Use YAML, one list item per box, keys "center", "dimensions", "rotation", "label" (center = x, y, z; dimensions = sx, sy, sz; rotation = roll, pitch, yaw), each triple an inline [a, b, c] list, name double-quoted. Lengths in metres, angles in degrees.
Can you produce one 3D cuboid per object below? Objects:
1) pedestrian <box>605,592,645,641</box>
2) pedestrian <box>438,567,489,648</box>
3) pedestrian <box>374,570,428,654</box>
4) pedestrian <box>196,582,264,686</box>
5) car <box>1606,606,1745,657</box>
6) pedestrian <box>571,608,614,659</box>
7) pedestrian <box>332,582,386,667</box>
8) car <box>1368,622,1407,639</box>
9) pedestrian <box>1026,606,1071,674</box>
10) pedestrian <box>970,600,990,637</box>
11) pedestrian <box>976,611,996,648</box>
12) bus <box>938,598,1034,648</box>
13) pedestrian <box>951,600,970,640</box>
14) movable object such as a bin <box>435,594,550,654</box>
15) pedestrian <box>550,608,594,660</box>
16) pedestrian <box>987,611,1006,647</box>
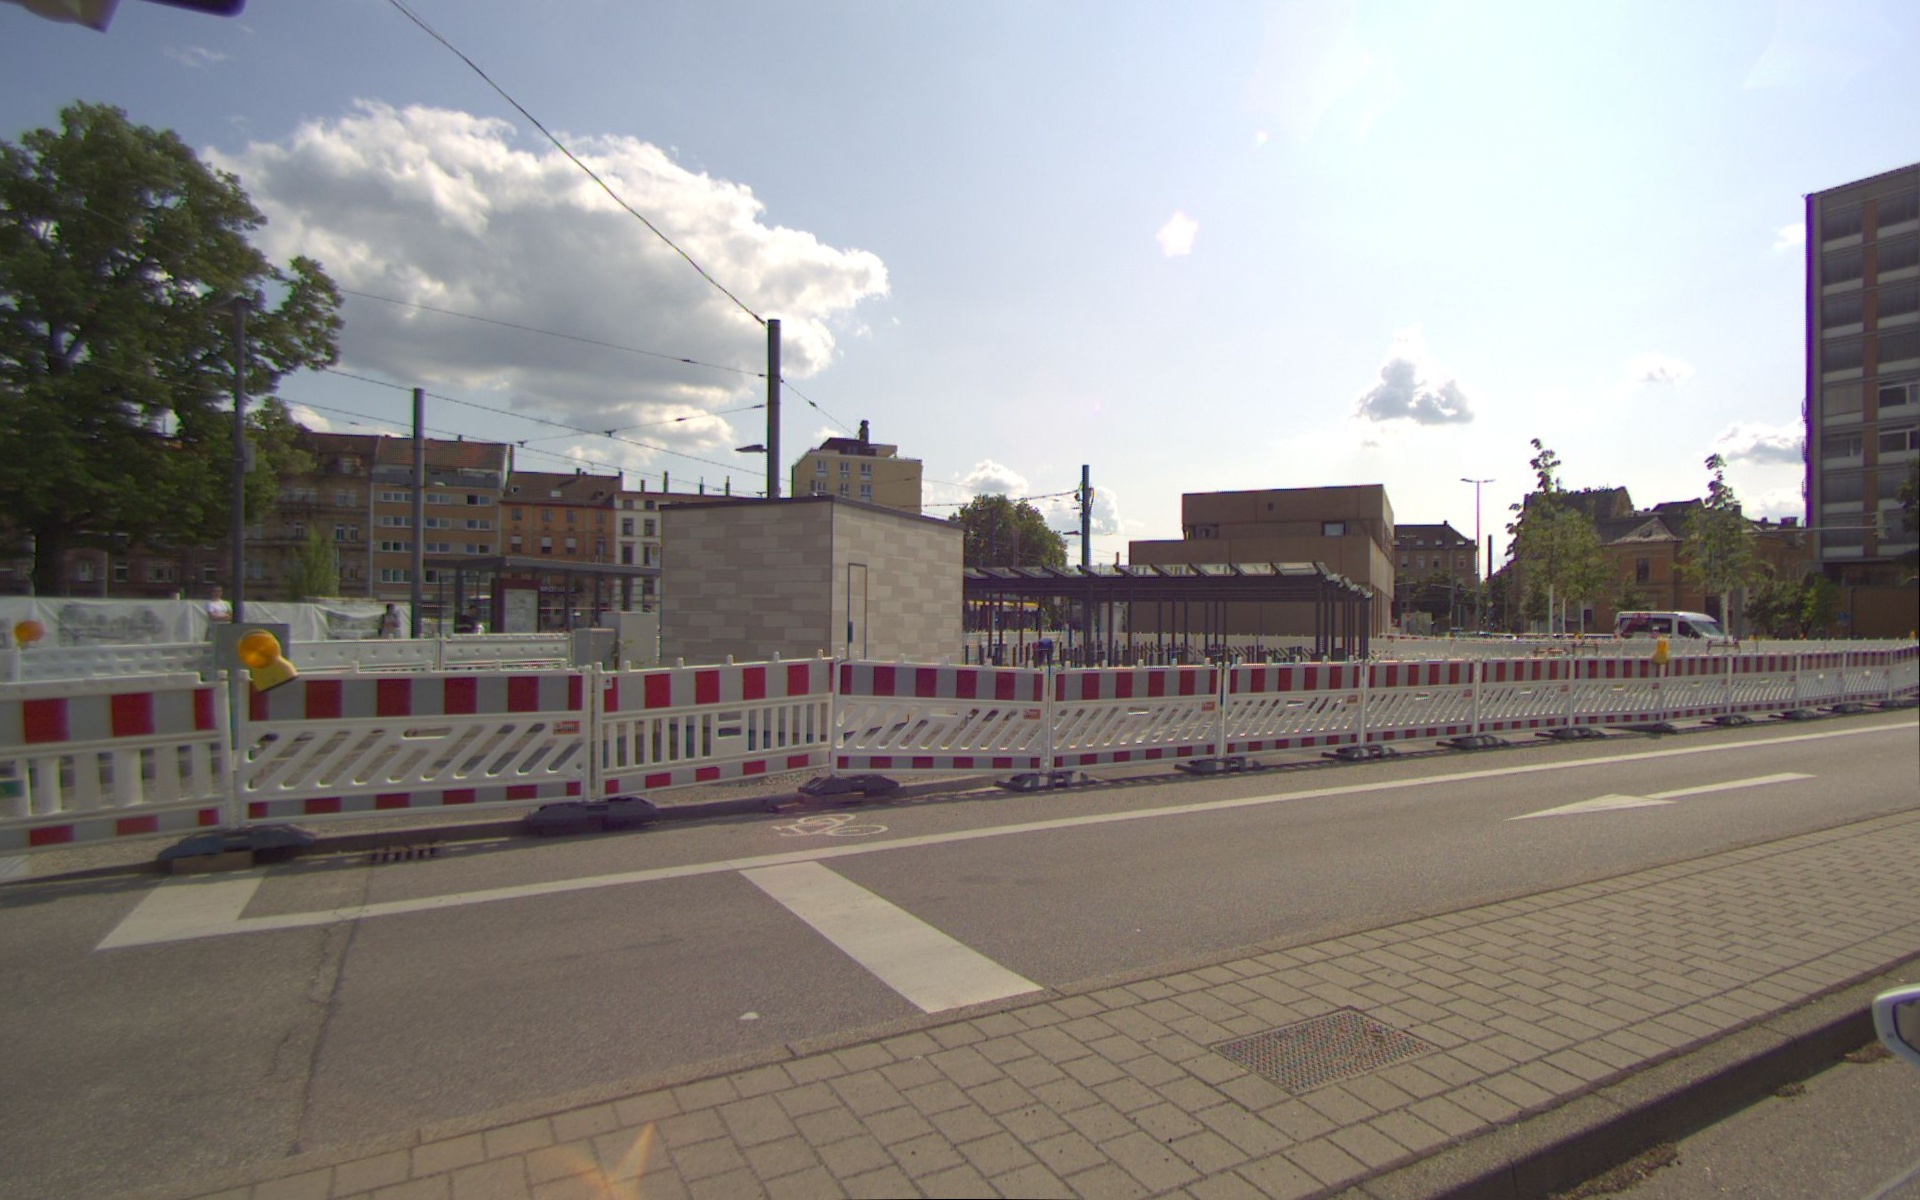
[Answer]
- center: [-10.300, 0.505, 30.890]
  dimensions: [0.926, 1.450, 0.730]
  rotation: [1, -1, 28]
  label: "pedestrian"
- center: [-12.691, 0.195, 25.682]
  dimensions: [0.926, 2.040, 0.730]
  rotation: [1, -1, 28]
  label: "pedestrian"
- center: [-13.806, 0.297, 24.821]
  dimensions: [0.926, 2.040, 0.730]
  rotation: [1, -1, 28]
  label: "pedestrian"
- center: [-14.726, 0.682, 20.284]
  dimensions: [0.802, 2.040, 0.798]
  rotation: [1, -1, 28]
  label: "pedestrian"
- center: [35.059, 1.527, 49.469]
  dimensions: [2.260, 2.349, 5.579]
  rotation: [0, -1, -10]
  label: "car"
- center: [-10.864, 0.983, 29.687]
  dimensions: [0.926, 1.450, 0.730]
  rotation: [1, -1, 28]
  label: "pedestrian"
- center: [-14.899, 0.601, 24.907]
  dimensions: [0.926, 2.040, 0.730]
  rotation: [1, -1, 28]
  label: "pedestrian"
- center: [43.267, 3.106, 101.721]
  dimensions: [2.015, 1.713, 3.731]
  rotation: [0, -1, -8]
  label: "car"
- center: [2.456, 1.087, 27.713]
  dimensions: [0.918, 1.813, 1.179]
  rotation: [1, -1, 21]
  label: "pedestrian"
- center: [1.145, 1.041, 56.780]
  dimensions: [0.925, 2.040, 0.731]
  rotation: [1, -1, 15]
  label: "pedestrian"
- center: [1.424, 1.628, 55.460]
  dimensions: [0.925, 2.040, 0.731]
  rotation: [1, -1, 15]
  label: "pedestrian"
- center: [1.902, 1.503, 65.923]
  dimensions: [2.384, 3.022, 10.536]
  rotation: [0, -1, 25]
  label: "bus"
- center: [0.030, 1.047, 52.963]
  dimensions: [0.925, 2.040, 0.731]
  rotation: [1, -1, 0]
  label: "pedestrian"
- center: [-21.228, 1.081, 45.794]
  dimensions: [2.602, 2.608, 3.995]
  rotation: [0, -1, 28]
  label: "movable object such as a bin"
- center: [-11.213, 0.979, 29.006]
  dimensions: [0.926, 1.450, 0.730]
  rotation: [1, -1, 28]
  label: "pedestrian"
- center: [2.117, 1.705, 58.741]
  dimensions: [0.925, 2.040, 0.731]
  rotation: [1, -1, 15]
  label: "pedestrian"
